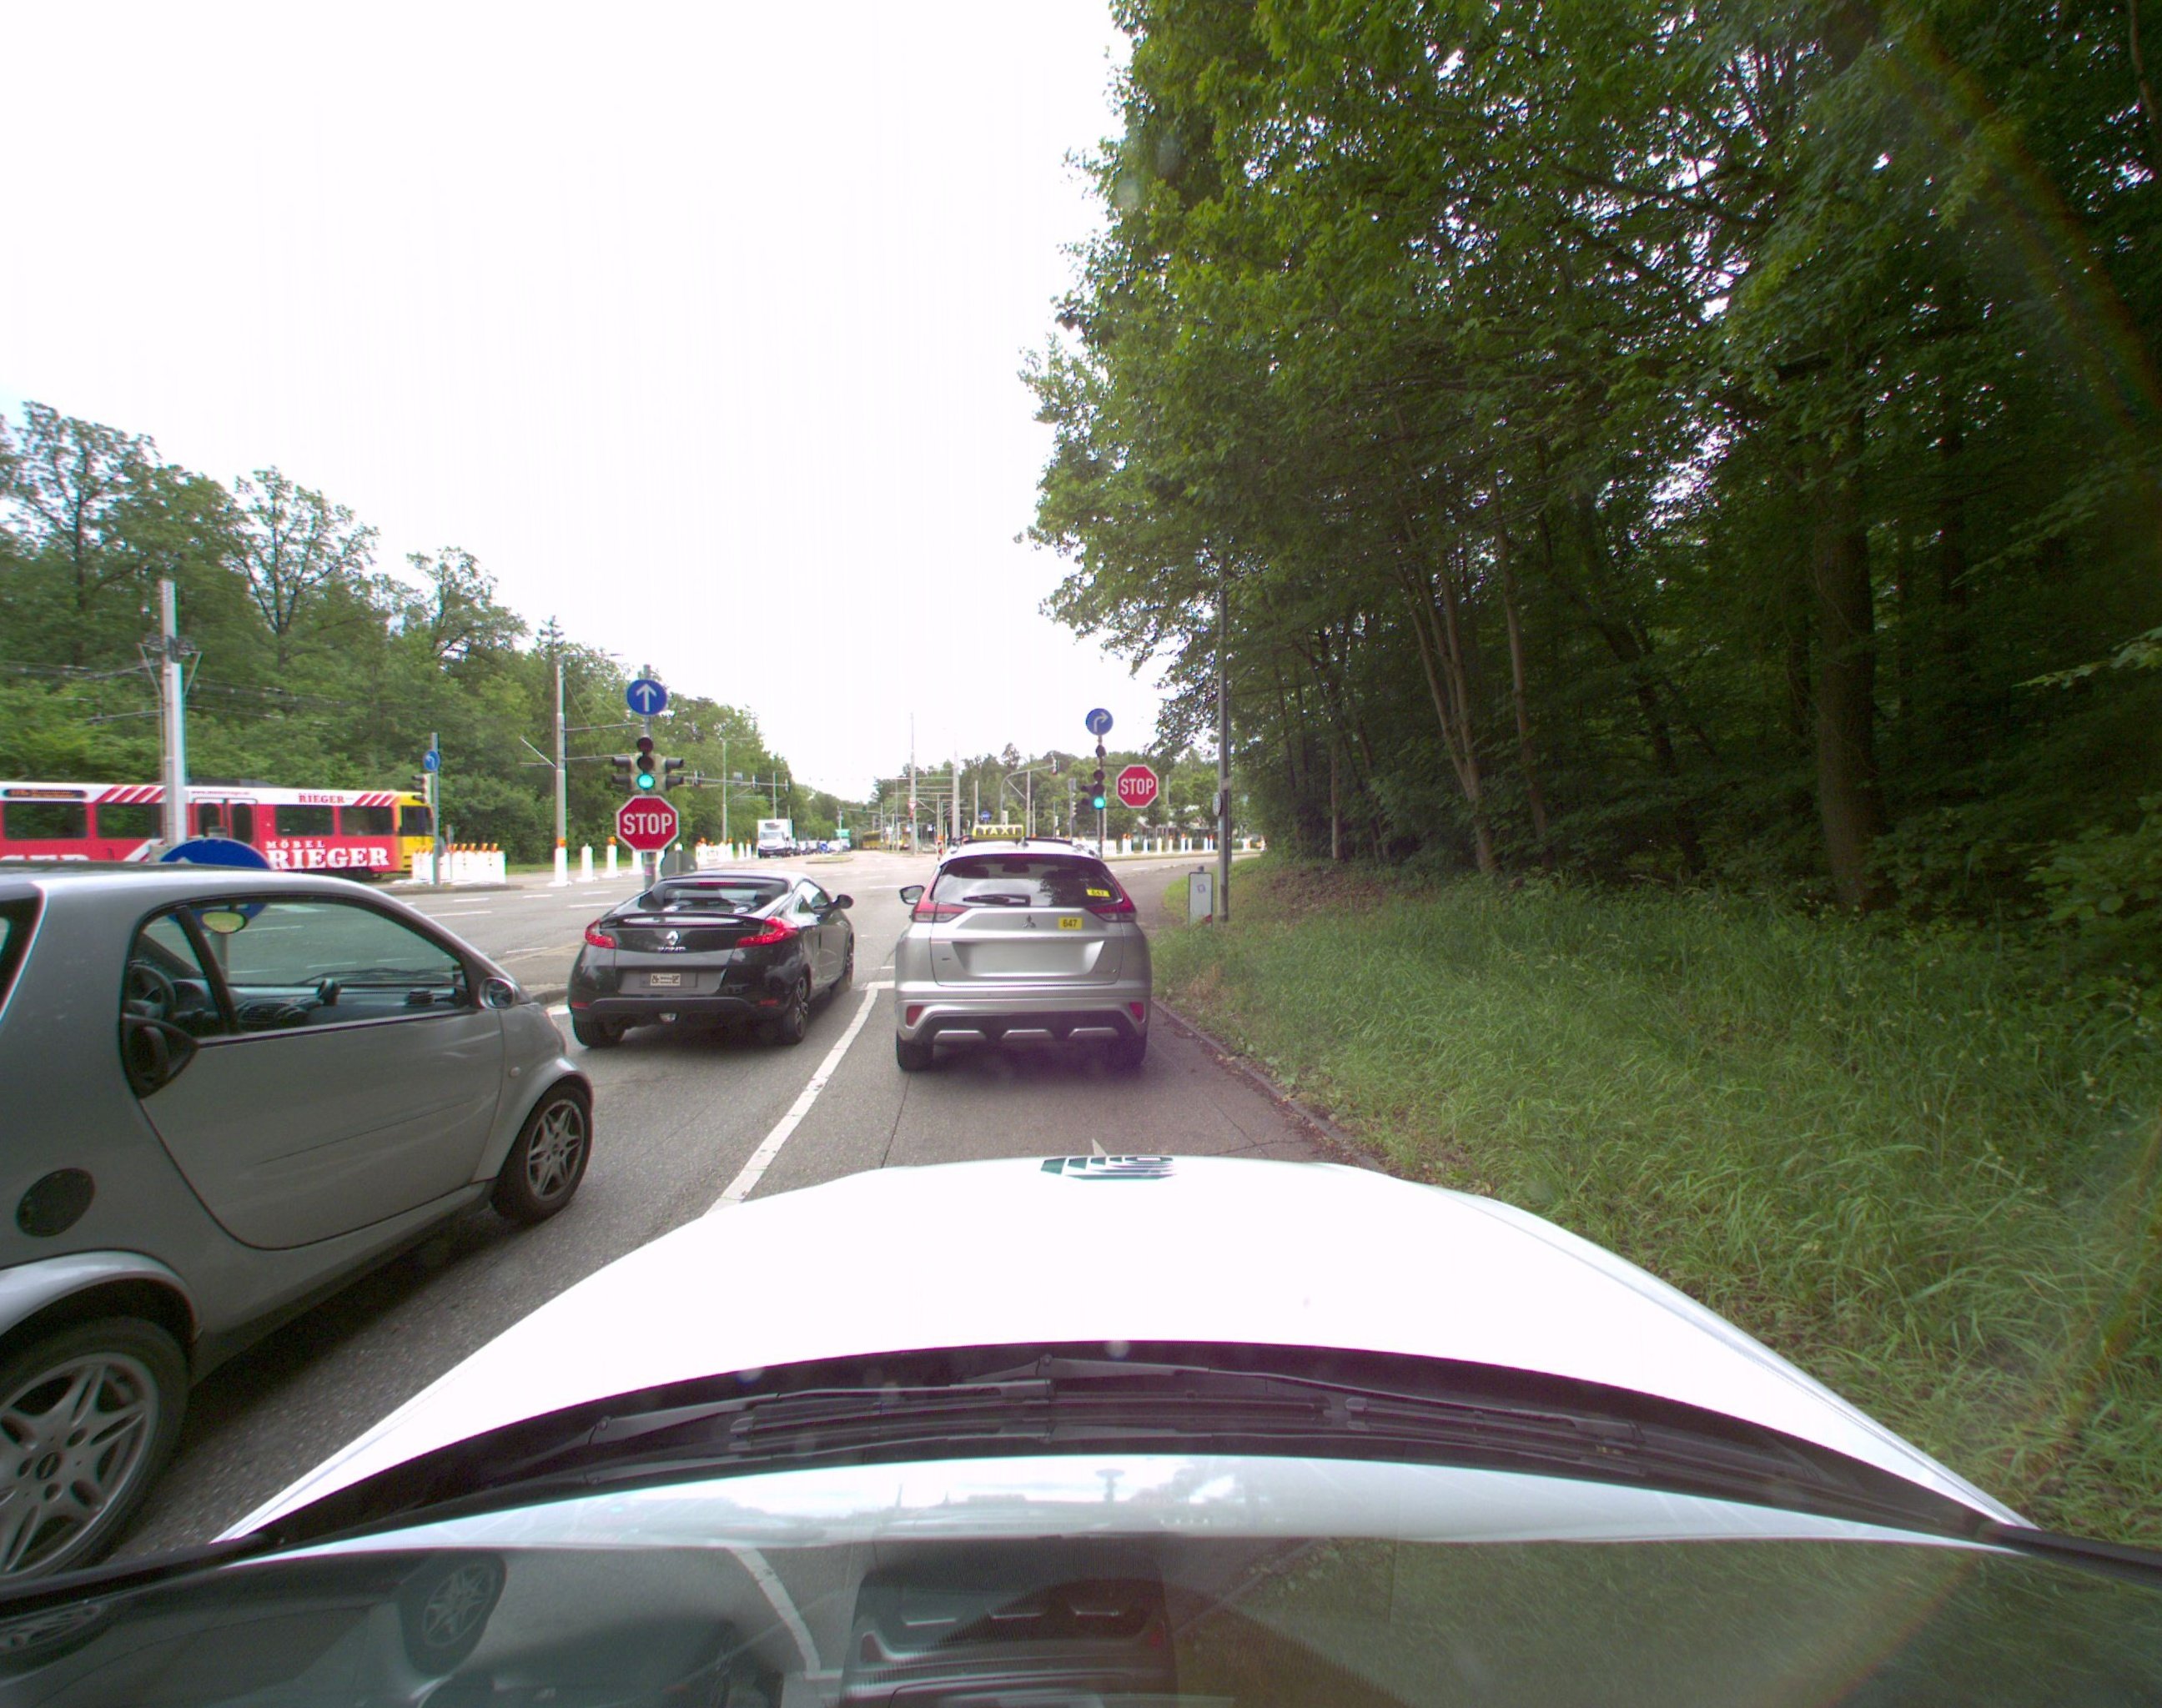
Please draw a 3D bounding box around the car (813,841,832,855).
[{"bbox_3d":[-32.339,-0.753,102.024,1.964,1.607,4.291,-1,1,-13],"label":"car"}]

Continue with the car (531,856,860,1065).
[{"bbox_3d":[-3.199,0.754,7.553,1.773,1.361,3.466,-1,1,-9],"label":"car"}]

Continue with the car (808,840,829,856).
[{"bbox_3d":[-30.815,-0.743,95.625,1.964,1.844,4.669,-1,1,-13],"label":"car"}]

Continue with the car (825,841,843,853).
[{"bbox_3d":[-32.699,-0.930,107.901,1.964,1.541,4.376,-1,1,-13],"label":"car"}]

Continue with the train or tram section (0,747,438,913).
[{"bbox_3d":[-31.144,-0.658,24.532,2.918,4.650,18.660,-1,-1,30],"label":"train or tram section"}]

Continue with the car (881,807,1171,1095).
[{"bbox_3d":[-0.529,0.579,6.935,1.772,1.748,3.772,1,1,-7],"label":"car"}]

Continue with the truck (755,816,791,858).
[{"bbox_3d":[-25.492,-1.397,67.652,2.456,3.224,7.112,-2,1,-18],"label":"truck"}]

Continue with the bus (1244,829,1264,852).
[{"bbox_3d":[28.653,-2.267,135.585,2.804,3.602,12.841,0,1,10],"label":"bus"}]

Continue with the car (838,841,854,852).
[{"bbox_3d":[-34.932,-1.090,121.090,1.964,1.540,4.291,-1,1,-13],"label":"car"}]

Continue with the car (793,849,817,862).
[{"bbox_3d":[-29.650,0.148,87.651,1.964,1.361,4.669,-1,1,-13],"label":"car"}]

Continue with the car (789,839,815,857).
[{"bbox_3d":[-27.734,-0.626,80.935,1.964,1.749,4.824,-1,1,-14],"label":"car"}]

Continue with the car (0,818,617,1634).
[{"bbox_3d":[-2.918,0.725,2.559,1.455,1.586,2.724,-1,1,-4],"label":"car"}]
